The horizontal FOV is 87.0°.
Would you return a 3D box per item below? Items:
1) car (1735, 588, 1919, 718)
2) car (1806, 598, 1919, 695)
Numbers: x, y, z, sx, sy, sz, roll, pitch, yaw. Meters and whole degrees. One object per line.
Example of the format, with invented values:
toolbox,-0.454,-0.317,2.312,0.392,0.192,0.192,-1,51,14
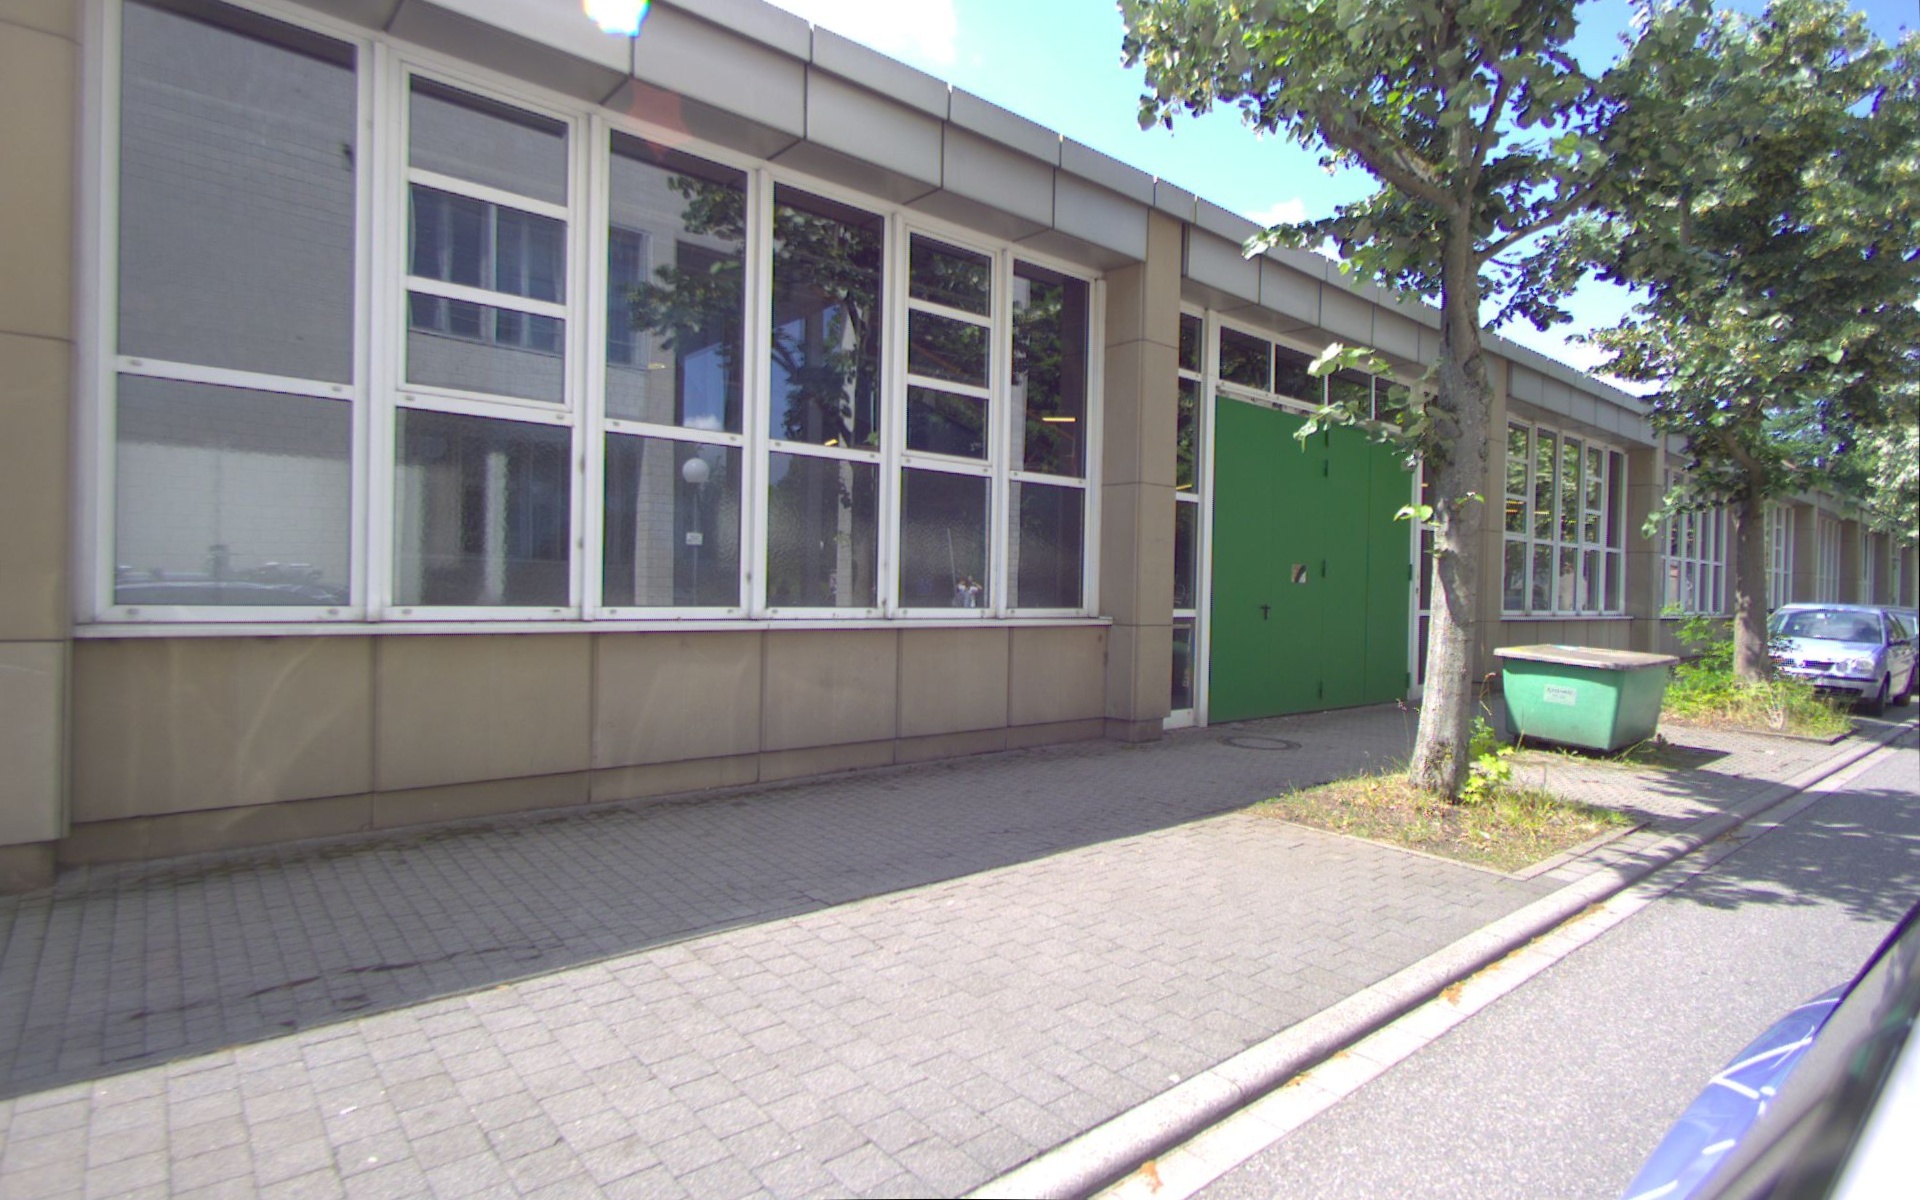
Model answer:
car,12.610,0.663,14.500,3.751,1.530,1.621,0,3,-41
car,16.705,0.770,18.227,3.751,1.481,1.621,0,3,-41
